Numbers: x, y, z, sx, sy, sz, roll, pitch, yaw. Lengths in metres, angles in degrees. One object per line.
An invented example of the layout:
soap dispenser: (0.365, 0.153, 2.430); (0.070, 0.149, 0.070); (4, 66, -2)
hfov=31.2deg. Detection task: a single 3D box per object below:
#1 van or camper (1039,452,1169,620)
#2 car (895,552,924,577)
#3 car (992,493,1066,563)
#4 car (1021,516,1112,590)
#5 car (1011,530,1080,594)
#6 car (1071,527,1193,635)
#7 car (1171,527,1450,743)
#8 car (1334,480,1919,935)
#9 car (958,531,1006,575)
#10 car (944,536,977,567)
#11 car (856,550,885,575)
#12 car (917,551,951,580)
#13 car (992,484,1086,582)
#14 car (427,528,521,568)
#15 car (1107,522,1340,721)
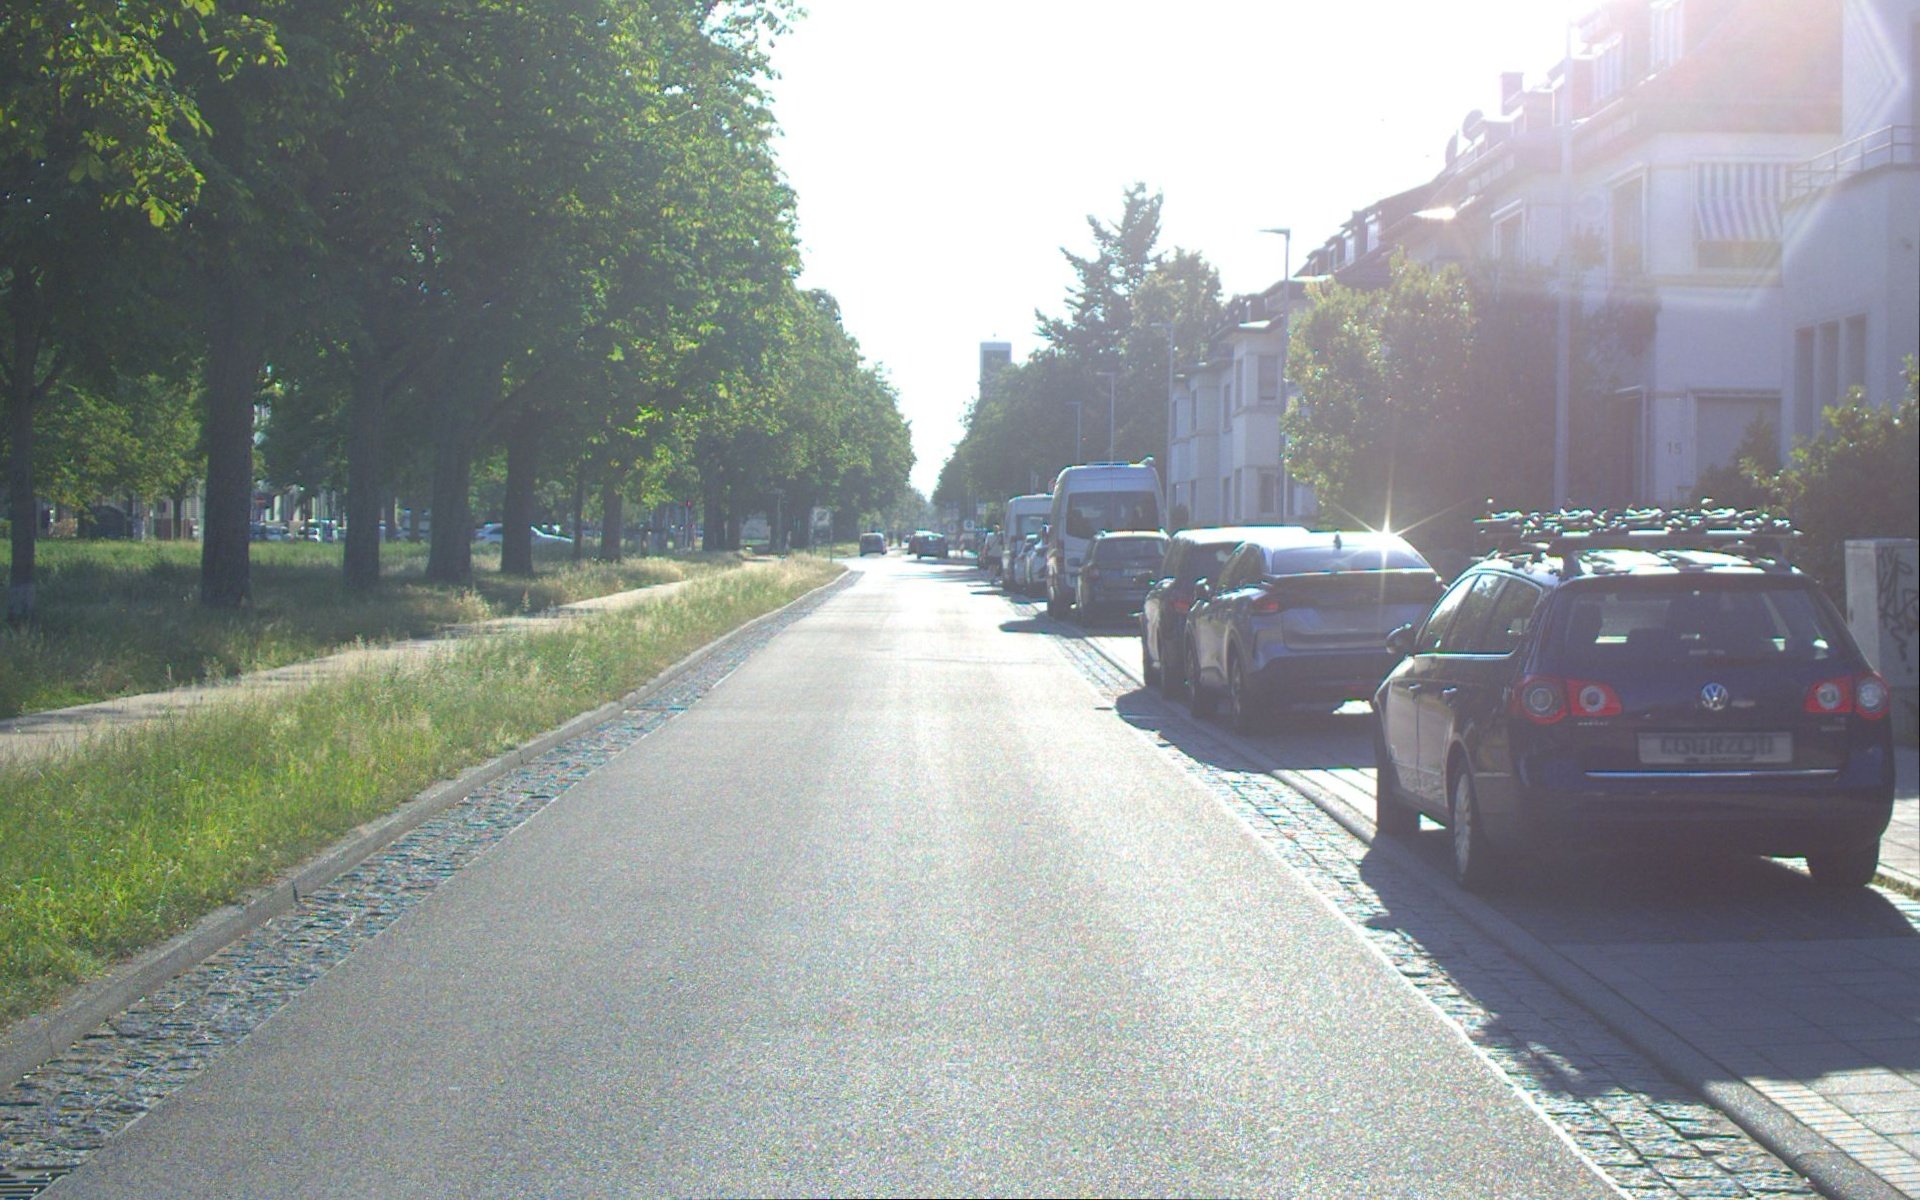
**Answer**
van or camper: (2.498, -1.106, 60.971); (1.943, 2.768, 5.940); (2, 1, 0)
car: (-3.362, -2.351, 228.143); (1.863, 1.591, 3.870); (2, 1, -1)
car: (2.079, -2.212, 105.006); (2.126, 2.060, 5.189); (0, 1, 0)
car: (2.438, -1.107, 79.498); (1.837, 1.630, 4.132); (0, 1, -2)
car: (2.089, -0.952, 84.919); (1.650, 1.525, 3.851); (0, 1, 1)
car: (2.685, -0.331, 54.379); (1.663, 1.587, 4.086); (-2, 1, 0)
car: (2.749, 0.223, 27.807); (1.718, 1.568, 4.211); (-1, 1, -1)
car: (2.912, 0.367, 15.899); (1.794, 1.765, 4.473); (-1, 2, -1)
car: (0.797, -1.689, 122.849); (1.650, 1.525, 3.851); (0, 1, 1)
car: (0.045, -2.517, 178.714); (1.650, 1.525, 3.851); (0, 1, 1)
car: (-5.932, -2.531, 229.268); (1.863, 1.591, 3.870); (2, 1, -1)
car: (-1.518, -1.990, 197.253); (1.863, 1.591, 3.894); (2, 1, -1)
car: (2.062, -1.794, 91.147); (2.126, 2.524, 5.189); (0, 1, -2)
car: (-23.153, -2.491, 163.801); (4.345, 1.758, 2.001); (2, 1, -9)
car: (2.483, 0.149, 33.422); (1.832, 1.679, 4.415); (2, 2, 0)
